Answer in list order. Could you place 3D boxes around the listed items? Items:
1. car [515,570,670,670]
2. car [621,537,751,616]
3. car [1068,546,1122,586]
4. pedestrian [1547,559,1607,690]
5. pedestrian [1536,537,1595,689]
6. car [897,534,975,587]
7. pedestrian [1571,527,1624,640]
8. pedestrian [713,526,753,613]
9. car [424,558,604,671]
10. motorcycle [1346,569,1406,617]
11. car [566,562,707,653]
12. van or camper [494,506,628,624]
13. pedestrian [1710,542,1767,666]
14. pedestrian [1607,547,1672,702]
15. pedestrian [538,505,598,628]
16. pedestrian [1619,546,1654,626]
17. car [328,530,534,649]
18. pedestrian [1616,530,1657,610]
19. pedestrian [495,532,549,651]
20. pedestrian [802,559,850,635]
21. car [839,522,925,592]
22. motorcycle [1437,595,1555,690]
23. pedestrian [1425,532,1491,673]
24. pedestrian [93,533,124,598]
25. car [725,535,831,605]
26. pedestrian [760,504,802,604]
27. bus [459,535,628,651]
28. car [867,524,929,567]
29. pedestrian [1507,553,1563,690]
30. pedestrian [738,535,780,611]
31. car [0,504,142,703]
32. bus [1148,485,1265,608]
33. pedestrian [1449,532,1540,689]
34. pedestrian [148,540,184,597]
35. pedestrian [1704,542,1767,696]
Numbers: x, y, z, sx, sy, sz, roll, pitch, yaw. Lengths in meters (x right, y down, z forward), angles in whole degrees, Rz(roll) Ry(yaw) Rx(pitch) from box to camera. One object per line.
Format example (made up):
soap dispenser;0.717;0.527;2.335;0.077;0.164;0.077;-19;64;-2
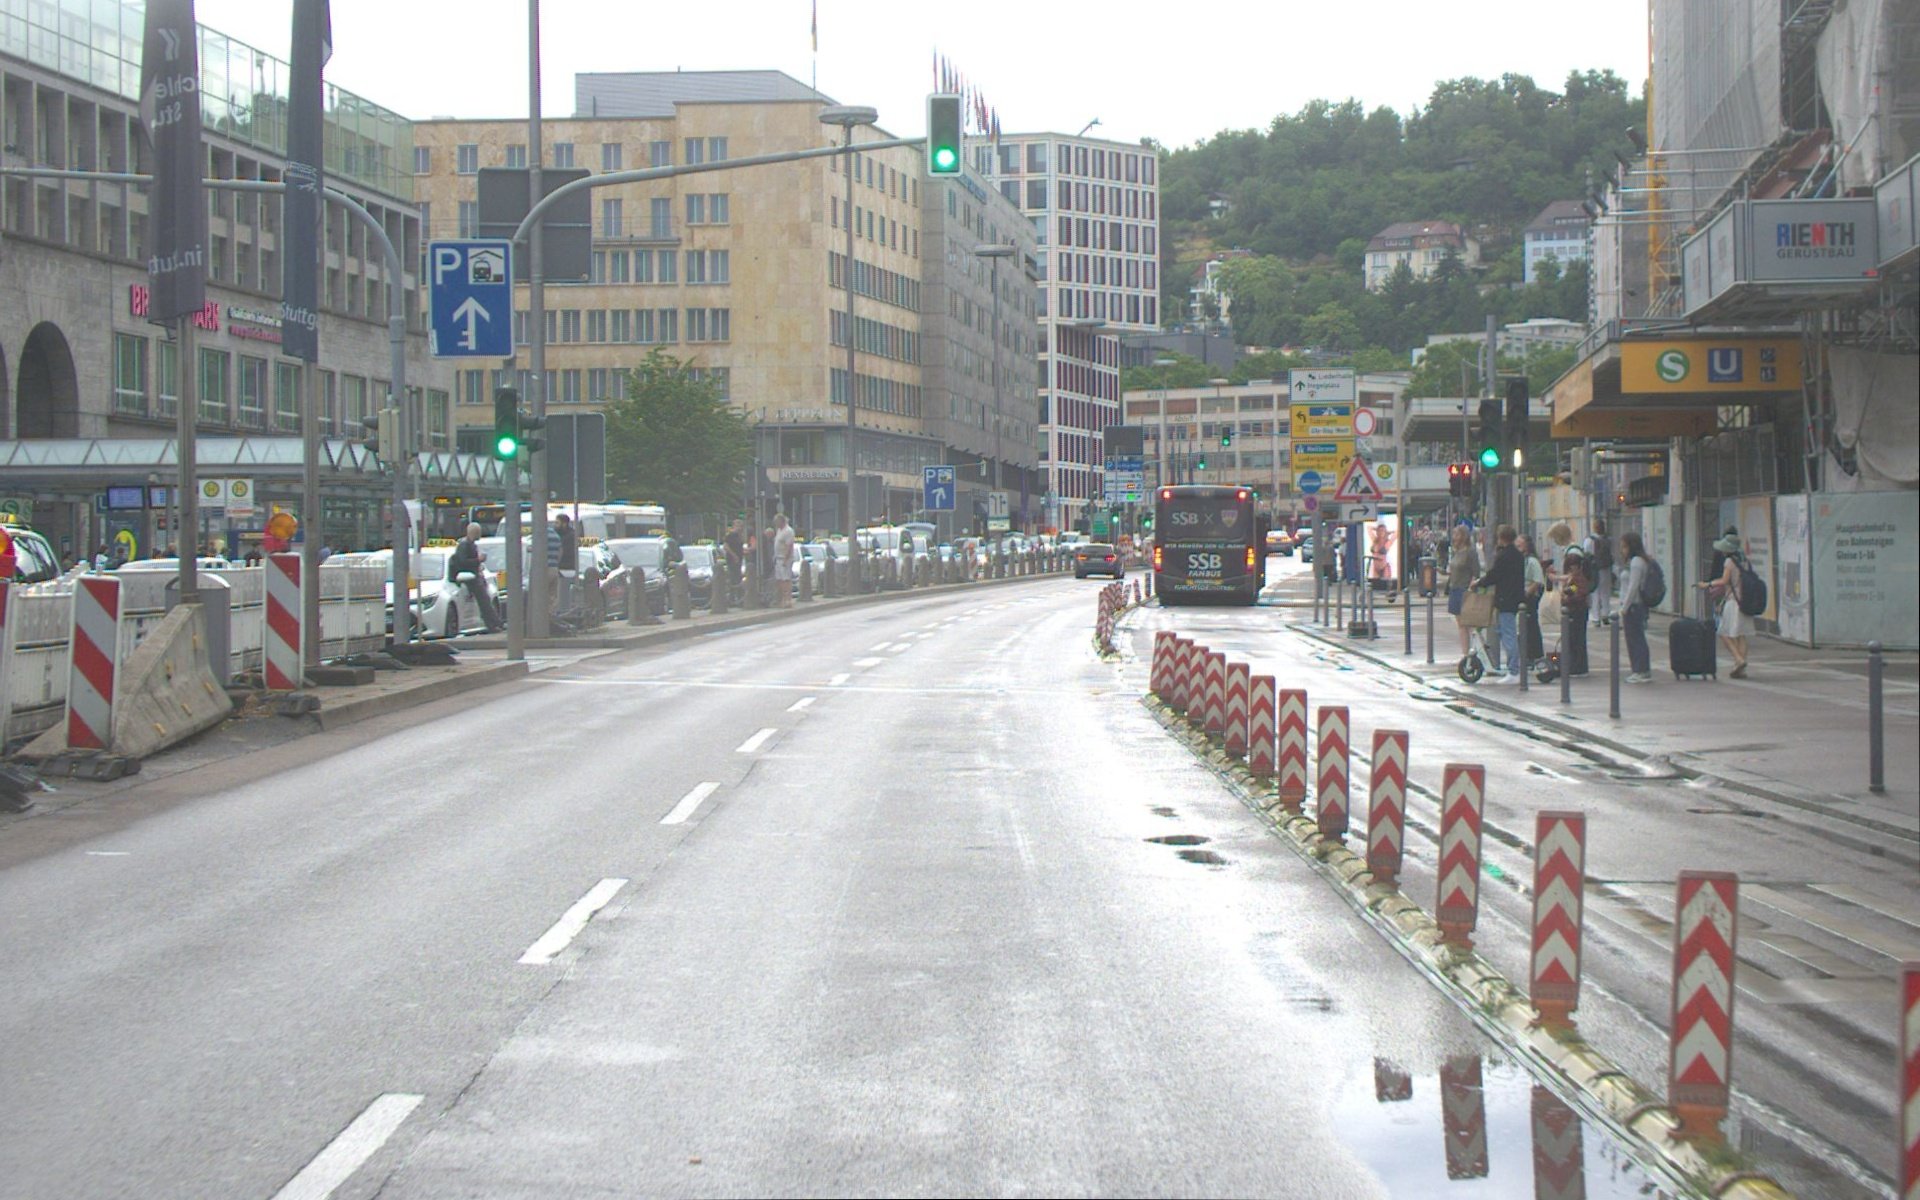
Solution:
car;-6.662;0.338;62.838;1.930;1.685;4.681;-2;1;5
car;-5.874;-0.525;74.252;1.930;1.571;5.260;-2;1;5
car;5.464;-1.389;139.502;1.993;1.546;4.000;-1;1;0
pedestrian;7.033;0.273;39.193;0.558;1.444;0.711;-3;1;6
pedestrian;7.148;0.148;40.604;0.558;1.746;0.711;-3;1;6
car;-0.765;-1.337;114.719;1.994;1.716;4.781;-1;1;7
pedestrian;10.748;-0.284;57.974;0.723;1.841;0.810;-3;1;5
pedestrian;-4.593;-0.620;69.554;0.698;1.749;0.711;0;1;5
car;-7.190;0.200;55.887;1.930;1.685;4.681;-2;1;5
motorcycle;10.257;-0.175;84.757;0.586;1.162;1.613;2;1;45
car;-6.343;0.119;67.893;1.930;1.685;4.681;-2;1;5
van or camper;-9.055;-0.836;78.538;1.994;2.505;5.370;-3;1;4
pedestrian;10.496;0.044;46.367;0.549;1.627;0.995;-3;1;5
pedestrian;7.376;0.258;37.317;0.558;1.645;0.614;-3;1;6
pedestrian;-5.796;-0.503;50.847;0.781;1.769;0.607;-3;1;-6
pedestrian;15.913;-0.336;80.852;0.645;1.841;0.659;-3;1;5
car;-7.637;-0.189;50.087;2.015;1.615;4.842;0;1;3
pedestrian;13.237;-0.588;67.250;0.651;1.534;0.665;-3;1;6
pedestrian;-6.369;-0.130;50.013;0.651;1.705;0.593;1;1;4
pedestrian;-3.140;-0.074;80.588;1.050;1.762;0.616;0;1;5
car;-2.453;-1.387;109.519;1.994;2.171;5.543;-1;1;6
motorcycle;5.975;0.462;38.363;0.584;1.018;1.239;-1;1;-37
pedestrian;6.367;0.029;43.952;0.558;1.753;0.752;-3;1;-8
pedestrian;-20.096;-0.811;81.140;0.583;1.502;0.626;0;2;-24
car;-4.569;-0.770;86.852;1.976;1.653;5.192;-2;1;4
pedestrian;-3.611;-0.930;69.328;0.723;2.001;0.772;1;1;5
bus;-12.613;-0.297;105.150;2.878;3.365;10.572;0;1;6
car;-2.273;-2.008;127.798;1.994;1.546;4.000;-1;1;3
pedestrian;7.054;0.253;42.209;0.558;1.635;0.752;-3;1;6
pedestrian;-4.284;-0.582;73.286;0.723;1.601;0.996;1;1;5
car;-9.127;-0.031;31.708;1.903;1.693;4.500;1;2;3
bus;6.583;-1.399;90.677;2.756;3.058;9.078;1;1;6
pedestrian;5.964;0.106;38.369;0.580;1.735;0.822;-1;1;-37
pedestrian;-19.401;-0.768;84.007;0.704;1.388;0.704;0;2;-24
pedestrian;8.470;0.200;37.570;0.564;1.645;0.614;-3;1;10
